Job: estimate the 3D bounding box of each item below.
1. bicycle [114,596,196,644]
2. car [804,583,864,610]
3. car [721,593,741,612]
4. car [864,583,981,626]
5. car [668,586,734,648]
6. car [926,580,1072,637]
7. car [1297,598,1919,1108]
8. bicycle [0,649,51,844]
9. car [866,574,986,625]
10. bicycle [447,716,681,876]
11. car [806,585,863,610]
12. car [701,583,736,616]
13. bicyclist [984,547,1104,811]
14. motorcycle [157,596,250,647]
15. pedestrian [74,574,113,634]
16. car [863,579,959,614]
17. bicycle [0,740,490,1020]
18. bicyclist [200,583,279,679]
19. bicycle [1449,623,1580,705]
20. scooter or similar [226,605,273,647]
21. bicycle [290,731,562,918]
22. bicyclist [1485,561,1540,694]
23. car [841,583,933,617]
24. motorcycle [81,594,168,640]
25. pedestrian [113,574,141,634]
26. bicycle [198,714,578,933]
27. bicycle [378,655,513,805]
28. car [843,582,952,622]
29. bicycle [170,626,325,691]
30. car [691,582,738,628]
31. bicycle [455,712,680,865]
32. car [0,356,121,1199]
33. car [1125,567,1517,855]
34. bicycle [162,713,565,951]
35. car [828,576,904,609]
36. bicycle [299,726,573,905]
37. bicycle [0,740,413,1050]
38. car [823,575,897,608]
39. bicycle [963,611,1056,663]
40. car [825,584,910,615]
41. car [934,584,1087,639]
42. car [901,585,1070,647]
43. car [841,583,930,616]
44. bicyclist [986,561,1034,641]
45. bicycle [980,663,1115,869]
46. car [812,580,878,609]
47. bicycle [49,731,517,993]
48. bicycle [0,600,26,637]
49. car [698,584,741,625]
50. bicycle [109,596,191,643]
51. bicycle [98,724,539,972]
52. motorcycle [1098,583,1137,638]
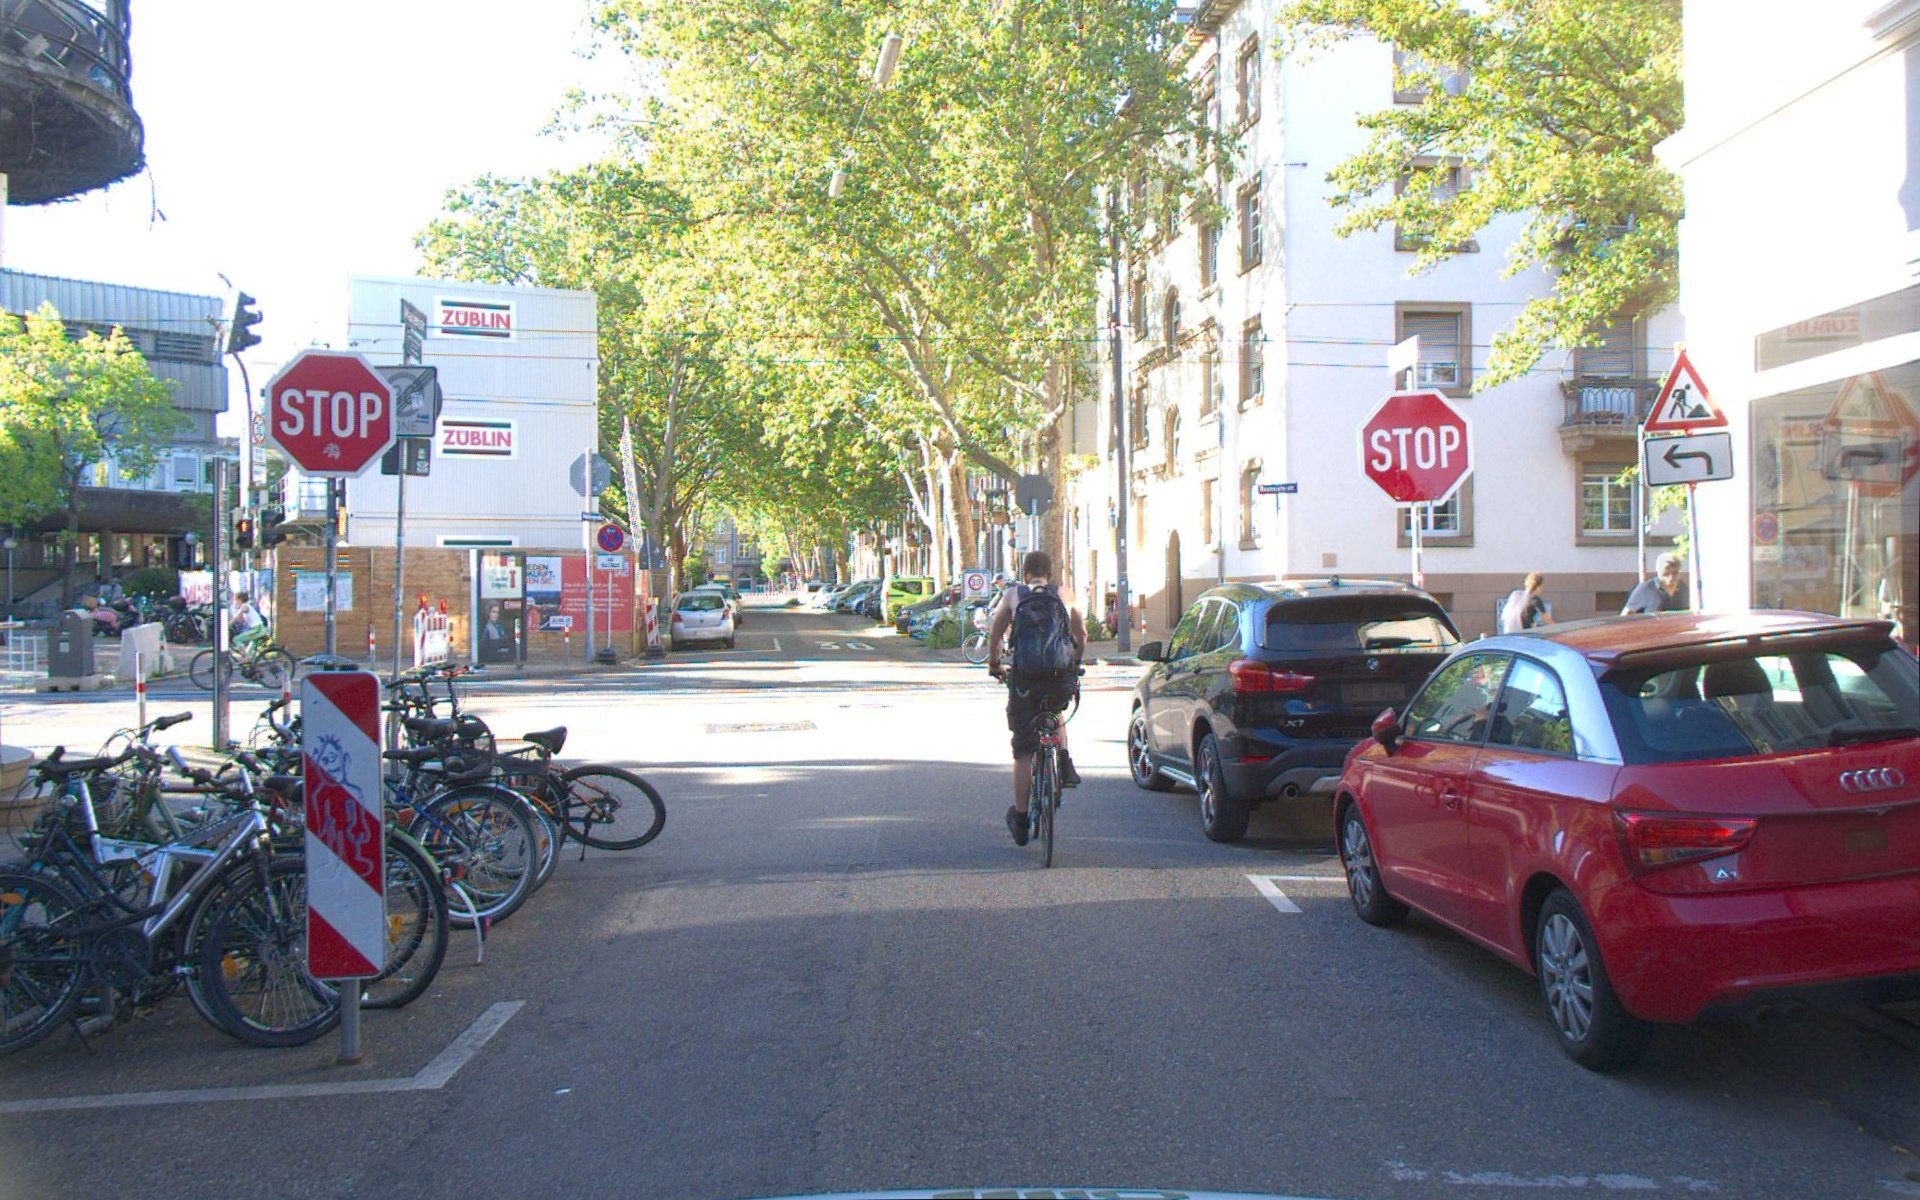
[{"bbox_3d":[-22.907,0.554,47.095,0.534,1.279,2.036,1,2,44],"label":"bicycle"},{"bbox_3d":[-9.444,-0.258,123.829,4.379,1.931,1.725,-1,0,-9],"label":"car"},{"bbox_3d":[-19.839,0.184,143.093,1.635,1.590,4.210,-1,1,-9],"label":"car"},{"bbox_3d":[-1.491,0.153,64.977,4.379,1.598,1.725,-1,0,-9],"label":"car"},{"bbox_3d":[-7.016,0.418,44.766,1.613,1.520,3.991,-3,1,-9],"label":"car"},{"bbox_3d":[1.220,0.250,52.179,4.379,1.700,1.725,-1,0,-9],"label":"car"},{"bbox_3d":[2.728,0.780,7.041,1.612,1.529,3.953,1,0,-3],"label":"car"},{"bbox_3d":[-5.743,0.855,9.313,0.389,1.111,1.591,-1,0,-1],"label":"bicycle"},{"bbox_3d":[-1.318,-0.047,62.968,4.380,1.868,1.724,-1,0,-10],"label":"car"},{"bbox_3d":[-2.276,1.120,9.579,1.285,0.832,0.354,-1,0,-11],"label":"bicycle"},{"bbox_3d":[-10.065,-0.189,132.665,4.379,1.931,1.725,-1,0,-9],"label":"car"},{"bbox_3d":[-12.142,-0.033,83.015,1.635,1.590,4.606,-1,1,-9],"label":"car"},{"bbox_3d":[0.496,0.461,10.014,0.662,1.539,0.668,1,0,-1],"label":"bicyclist"},{"bbox_3d":[-20.065,0.555,43.906,0.534,1.279,2.196,1,2,44],"label":"motorcycle"},{"bbox_3d":[-29.699,0.131,56.689,0.784,2.049,0.939,0,1,3],"label":"pedestrian"},{"bbox_3d":[-2.333,-0.192,78.308,4.379,1.598,1.725,-1,0,-9],"label":"car"},{"bbox_3d":[-2.746,1.062,6.390,1.729,0.978,0.405,-1,0,-3],"label":"bicycle"},{"bbox_3d":[-12.841,0.549,29.494,1.076,1.668,0.894,0,-1,-8],"label":"bicyclist"},{"bbox_3d":[7.272,0.826,21.700,1.591,1.034,0.553,0,-1,25],"label":"bicycle"},{"bbox_3d":[-18.618,0.670,43.366,0.376,1.038,1.489,0,1,11],"label":"scooter or similar"},{"bbox_3d":[-2.788,1.166,8.713,1.285,0.832,0.381,-3,1,-11],"label":"bicycle"},{"bbox_3d":[7.257,0.359,21.714,0.638,1.717,0.543,0,-1,23],"label":"bicyclist"},{"bbox_3d":[-3.596,-0.030,81.359,4.379,1.598,1.725,-1,0,-9],"label":"car"},{"bbox_3d":[-24.307,0.477,48.145,0.534,1.279,2.196,1,2,44],"label":"motorcycle"},{"bbox_3d":[-28.976,0.122,57.525,0.792,2.049,1.019,-1,1,-32],"label":"pedestrian"},{"bbox_3d":[-2.820,1.094,8.266,1.732,0.978,0.427,-1,0,-9],"label":"bicycle"},{"bbox_3d":[-4.333,1.054,13.854,0.454,1.064,1.663,-1,3,-41],"label":"bicycle"},{"bbox_3d":[-2.618,0.069,68.789,4.379,1.598,1.725,-1,0,-9],"label":"car"},{"bbox_3d":[-12.685,1.034,29.518,2.377,1.112,0.894,0,-1,-8],"label":"bicycle"},{"bbox_3d":[-9.049,0.159,60.812,1.635,1.590,3.991,-1,1,-9],"label":"car"},{"bbox_3d":[-2.340,1.118,9.947,1.285,0.832,0.370,-1,0,-11],"label":"bicycle"},{"bbox_3d":[-2.474,0.592,0.961,1.645,1.943,4.518,-4,0,-1],"label":"car"},{"bbox_3d":[2.358,0.650,11.904,1.725,1.691,4.195,1,0,-3],"label":"car"},{"bbox_3d":[-2.770,1.069,7.834,1.734,0.978,0.480,-1,0,-14],"label":"bicycle"},{"bbox_3d":[-5.593,-0.446,98.098,4.379,1.931,1.725,-1,0,-9],"label":"car"},{"bbox_3d":[-2.853,1.168,9.092,1.362,0.832,0.361,-3,1,-11],"label":"bicycle"},{"bbox_3d":[-2.914,1.040,5.939,1.729,1.006,0.463,-1,0,-2],"label":"bicycle"},{"bbox_3d":[-6.108,-0.546,100.646,4.379,1.931,1.725,-1,0,-9],"label":"car"},{"bbox_3d":[1.055,0.783,35.338,1.892,1.036,0.677,-1,0,-26],"label":"bicycle"},{"bbox_3d":[-4.955,-0.036,88.469,4.379,1.598,1.725,-1,0,-9],"label":"car"},{"bbox_3d":[1.503,0.329,50.115,4.379,1.598,1.725,-1,0,-9],"label":"car"},{"bbox_3d":[0.669,0.412,45.129,4.379,1.598,1.725,-1,0,-9],"label":"car"},{"bbox_3d":[-3.794,-0.030,83.827,4.379,1.598,1.725,-1,0,-9],"label":"car"},{"bbox_3d":[1.068,0.015,35.346,0.799,1.687,0.677,-1,0,-26],"label":"bicyclist"},{"bbox_3d":[0.489,0.942,9.988,0.675,1.034,1.907,1,0,-1],"label":"bicycle"},{"bbox_3d":[-7.878,-0.361,113.482,4.379,1.931,1.725,-1,0,-9],"label":"car"},{"bbox_3d":[-2.751,1.059,6.811,1.729,0.978,0.422,-1,0,-3],"label":"bicycle"},{"bbox_3d":[-31.417,0.593,52.539,3.015,1.167,0.822,-1,1,1],"label":"bicycle"},{"bbox_3d":[-9.692,0.161,66.474,1.635,1.590,4.509,-1,1,-9],"label":"car"},{"bbox_3d":[-23.273,0.554,47.555,0.534,1.279,2.036,1,2,44],"label":"bicycle"},{"bbox_3d":[-2.767,1.063,7.222,1.729,0.978,0.443,-1,0,-3],"label":"bicycle"},{"bbox_3d":[3.935,0.247,41.405,0.504,1.356,1.759,0,1,-10],"label":"motorcycle"}]
